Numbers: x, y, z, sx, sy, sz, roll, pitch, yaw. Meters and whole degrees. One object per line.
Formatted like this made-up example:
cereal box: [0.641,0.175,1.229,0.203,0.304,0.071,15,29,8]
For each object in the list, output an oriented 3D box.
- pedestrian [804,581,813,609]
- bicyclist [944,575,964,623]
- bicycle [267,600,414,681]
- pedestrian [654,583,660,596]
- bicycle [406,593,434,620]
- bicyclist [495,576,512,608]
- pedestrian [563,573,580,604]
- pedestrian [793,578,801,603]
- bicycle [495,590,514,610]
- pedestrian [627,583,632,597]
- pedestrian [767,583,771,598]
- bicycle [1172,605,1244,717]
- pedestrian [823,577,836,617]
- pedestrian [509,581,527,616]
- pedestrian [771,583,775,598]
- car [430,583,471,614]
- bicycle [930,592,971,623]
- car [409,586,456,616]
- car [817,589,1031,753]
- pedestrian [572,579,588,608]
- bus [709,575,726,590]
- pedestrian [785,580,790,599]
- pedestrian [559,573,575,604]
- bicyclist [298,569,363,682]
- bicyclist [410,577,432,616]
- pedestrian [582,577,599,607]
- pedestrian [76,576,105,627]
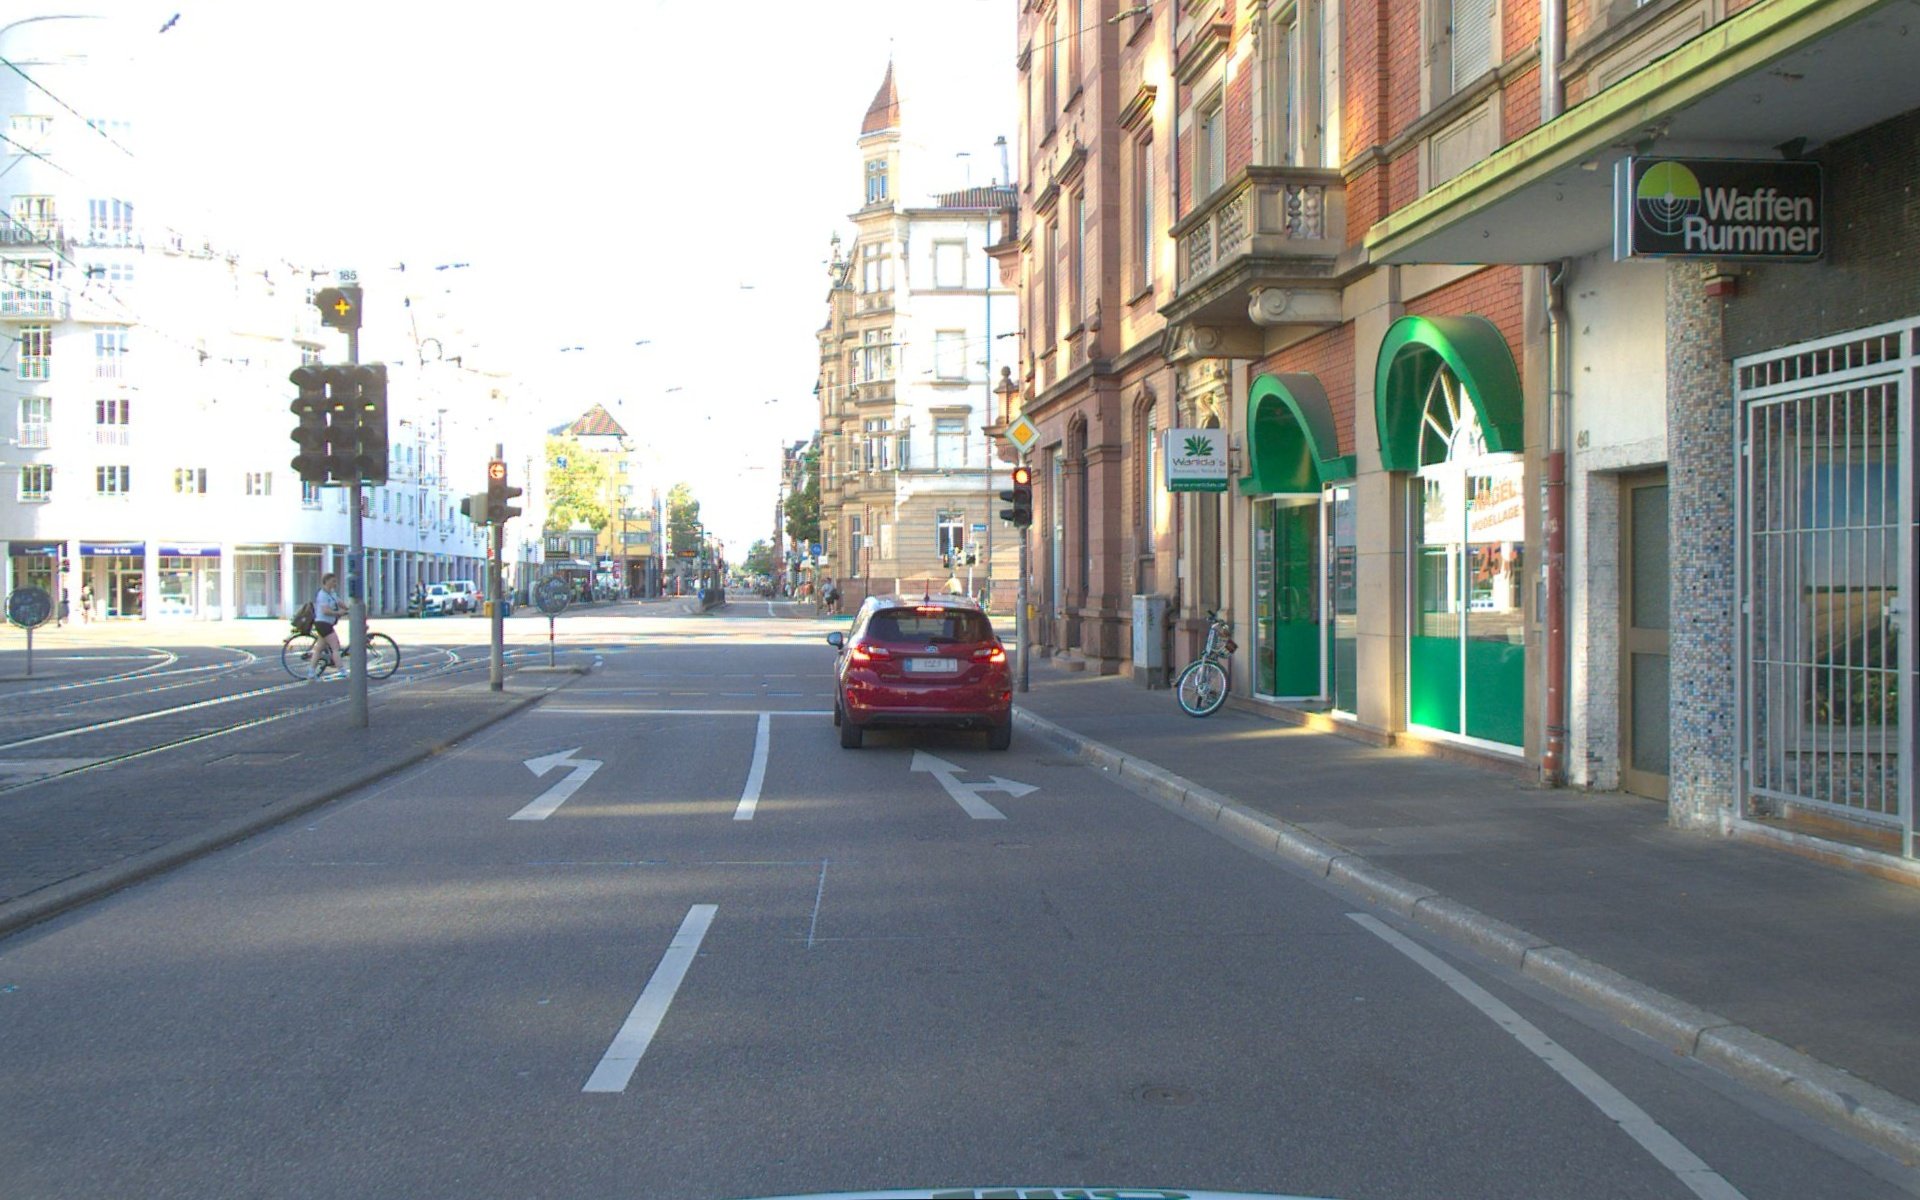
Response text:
pedestrian: [-11.128,-0.338,121.444,0.634,2.049,0.682,0,0,-7]
bicyclist: [-0.208,-0.033,59.368,0.534,1.705,0.499,0,0,36]
bicycle: [-9.344,0.605,25.004,1.978,1.198,0.628,0,0,-5]
pedestrian: [-37.673,-1.314,205.572,0.620,1.632,0.575,0,0,-24]
bicycle: [-24.493,0.282,75.071,0.792,1.167,2.046,-1,0,-7]
bicyclist: [-26.575,-0.459,96.368,0.792,1.853,0.992,-1,0,-7]
pedestrian: [-25.955,-0.762,110.529,0.938,2.049,1.047,-1,0,-7]
pedestrian: [-13.291,-0.798,134.792,0.565,2.049,0.630,0,0,-1]
bicycle: [-26.598,0.009,96.623,0.792,1.167,2.007,-1,0,-7]
pedestrian: [-35.727,-1.037,178.851,0.514,1.514,0.582,0,0,-5]
pedestrian: [-24.741,-1.204,214.119,0.566,1.920,0.668,0,0,-7]
bicycle: [2.854,0.670,18.946,0.700,1.172,1.656,-2,1,11]
pedestrian: [-6.686,-0.145,84.897,0.639,2.049,0.758,0,0,-8]
pedestrian: [-22.052,-0.065,82.574,0.753,1.761,0.572,0,0,-5]
pedestrian: [-23.782,-1.244,210.273,0.566,1.920,0.630,0,0,-7]
car: [-29.662,-0.111,96.385,1.669,1.748,3.558,0,0,-7]
bicycle: [-0.343,0.262,59.467,1.456,1.108,0.526,0,0,36]
car: [-28.355,0.019,89.023,1.731,1.573,3.456,0,0,-6]
car: [-0.494,0.653,17.271,1.721,1.492,3.937,1,0,-9]
pedestrian: [-26.465,-0.468,115.203,1.026,2.049,0.957,0,0,-9]
bus: [-33.158,-2.381,226.318,1.888,2.049,7.129,-1,1,-6]
pedestrian: [-18.466,-1.092,177.338,0.566,2.049,0.630,0,0,-7]
pedestrian: [-26.715,-0.785,112.441,1.026,2.049,0.957,0,0,-9]
bicyclist: [-9.346,0.372,24.585,0.715,1.655,0.765,0,0,-4]
bicyclist: [-24.503,-0.174,75.143,0.792,1.756,0.793,-1,0,-7]
pedestrian: [-25.170,-0.532,112.641,1.026,2.049,0.957,0,0,-9]
pedestrian: [-35.453,0.053,67.426,0.936,2.049,0.929,0,0,-35]
